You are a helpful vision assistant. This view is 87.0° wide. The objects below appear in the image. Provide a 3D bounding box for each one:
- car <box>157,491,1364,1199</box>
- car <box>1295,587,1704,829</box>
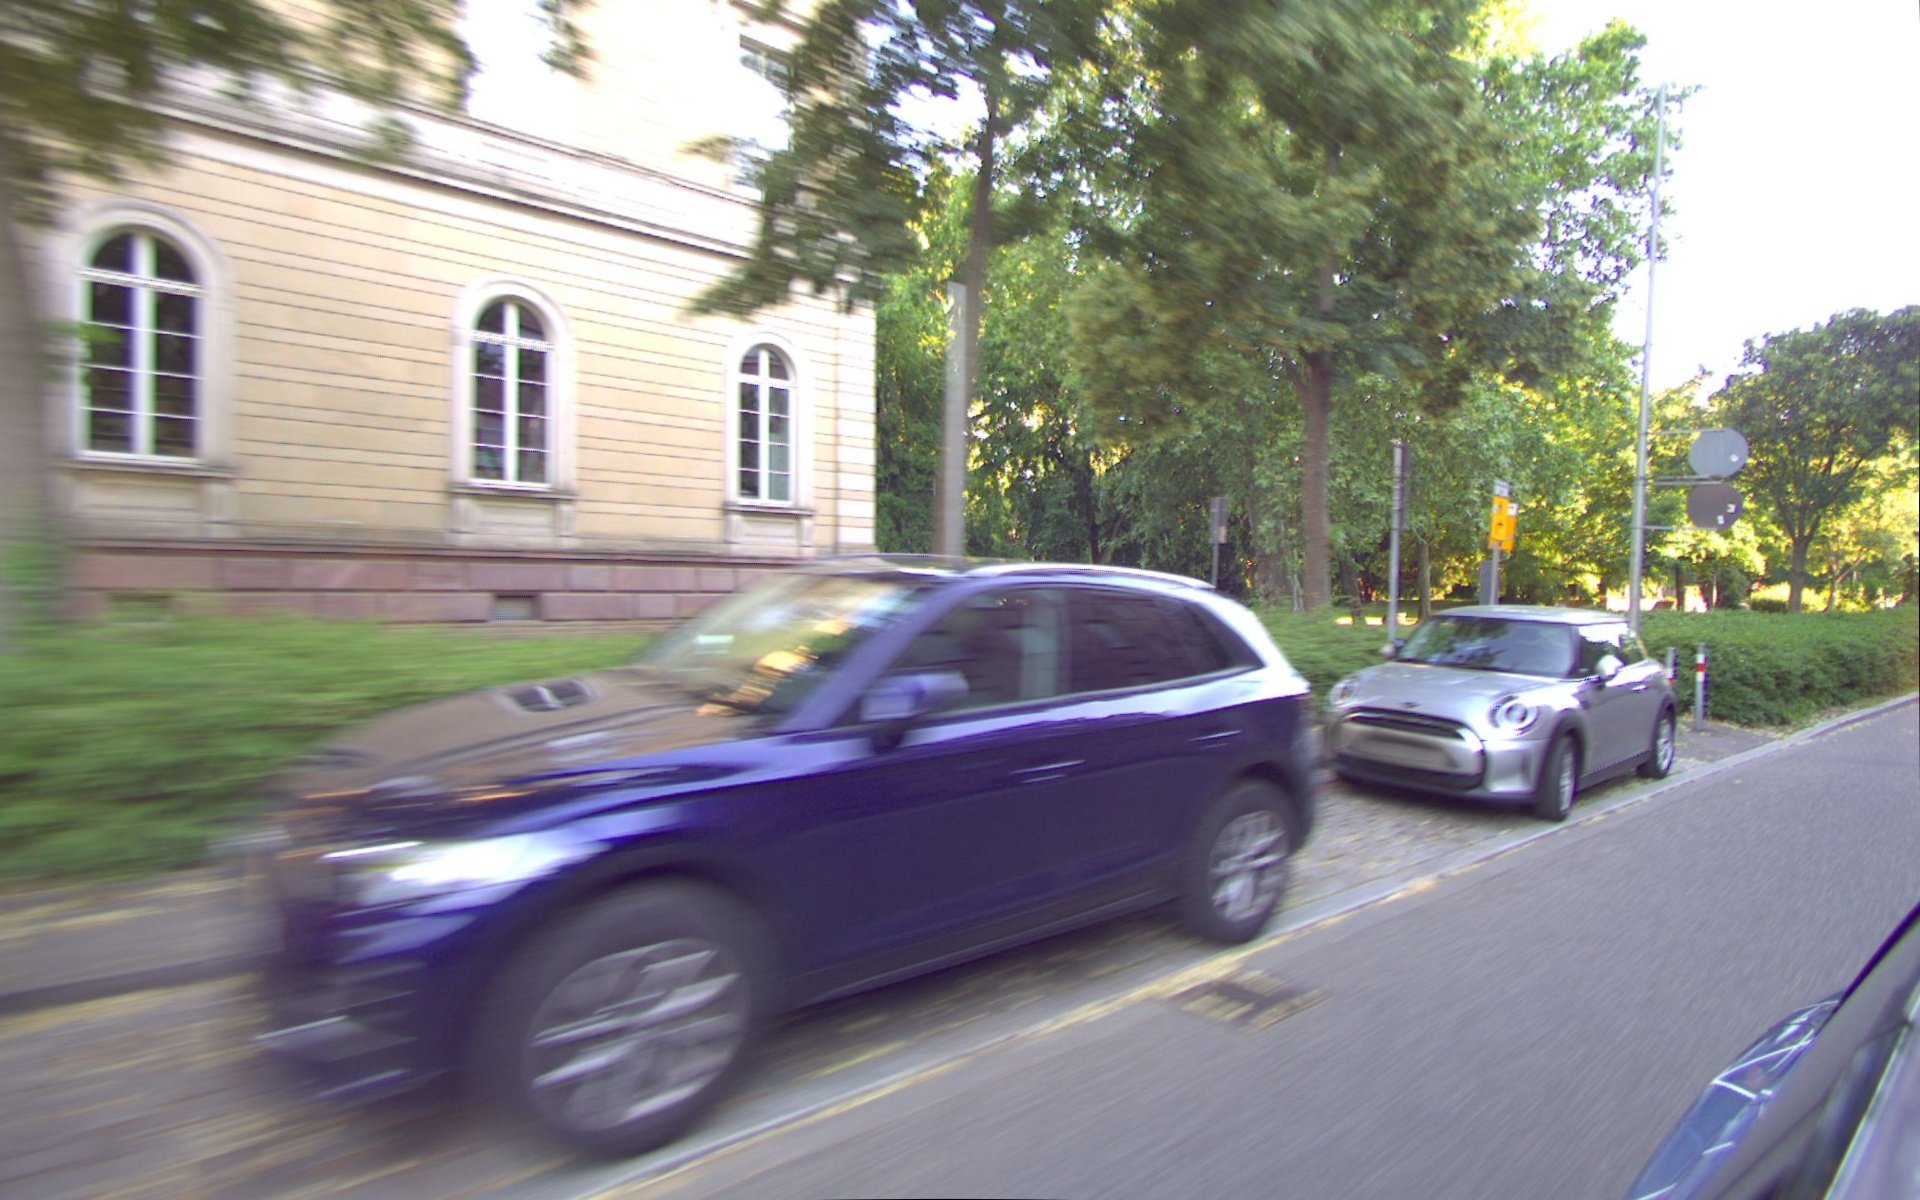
[{"bbox_3d":[-0.391,0.578,4.222,4.611,1.708,1.886,-1,1,-39],"label":"car"},{"bbox_3d":[4.559,0.651,8.294,3.932,1.456,1.726,-2,2,-42],"label":"car"}]
